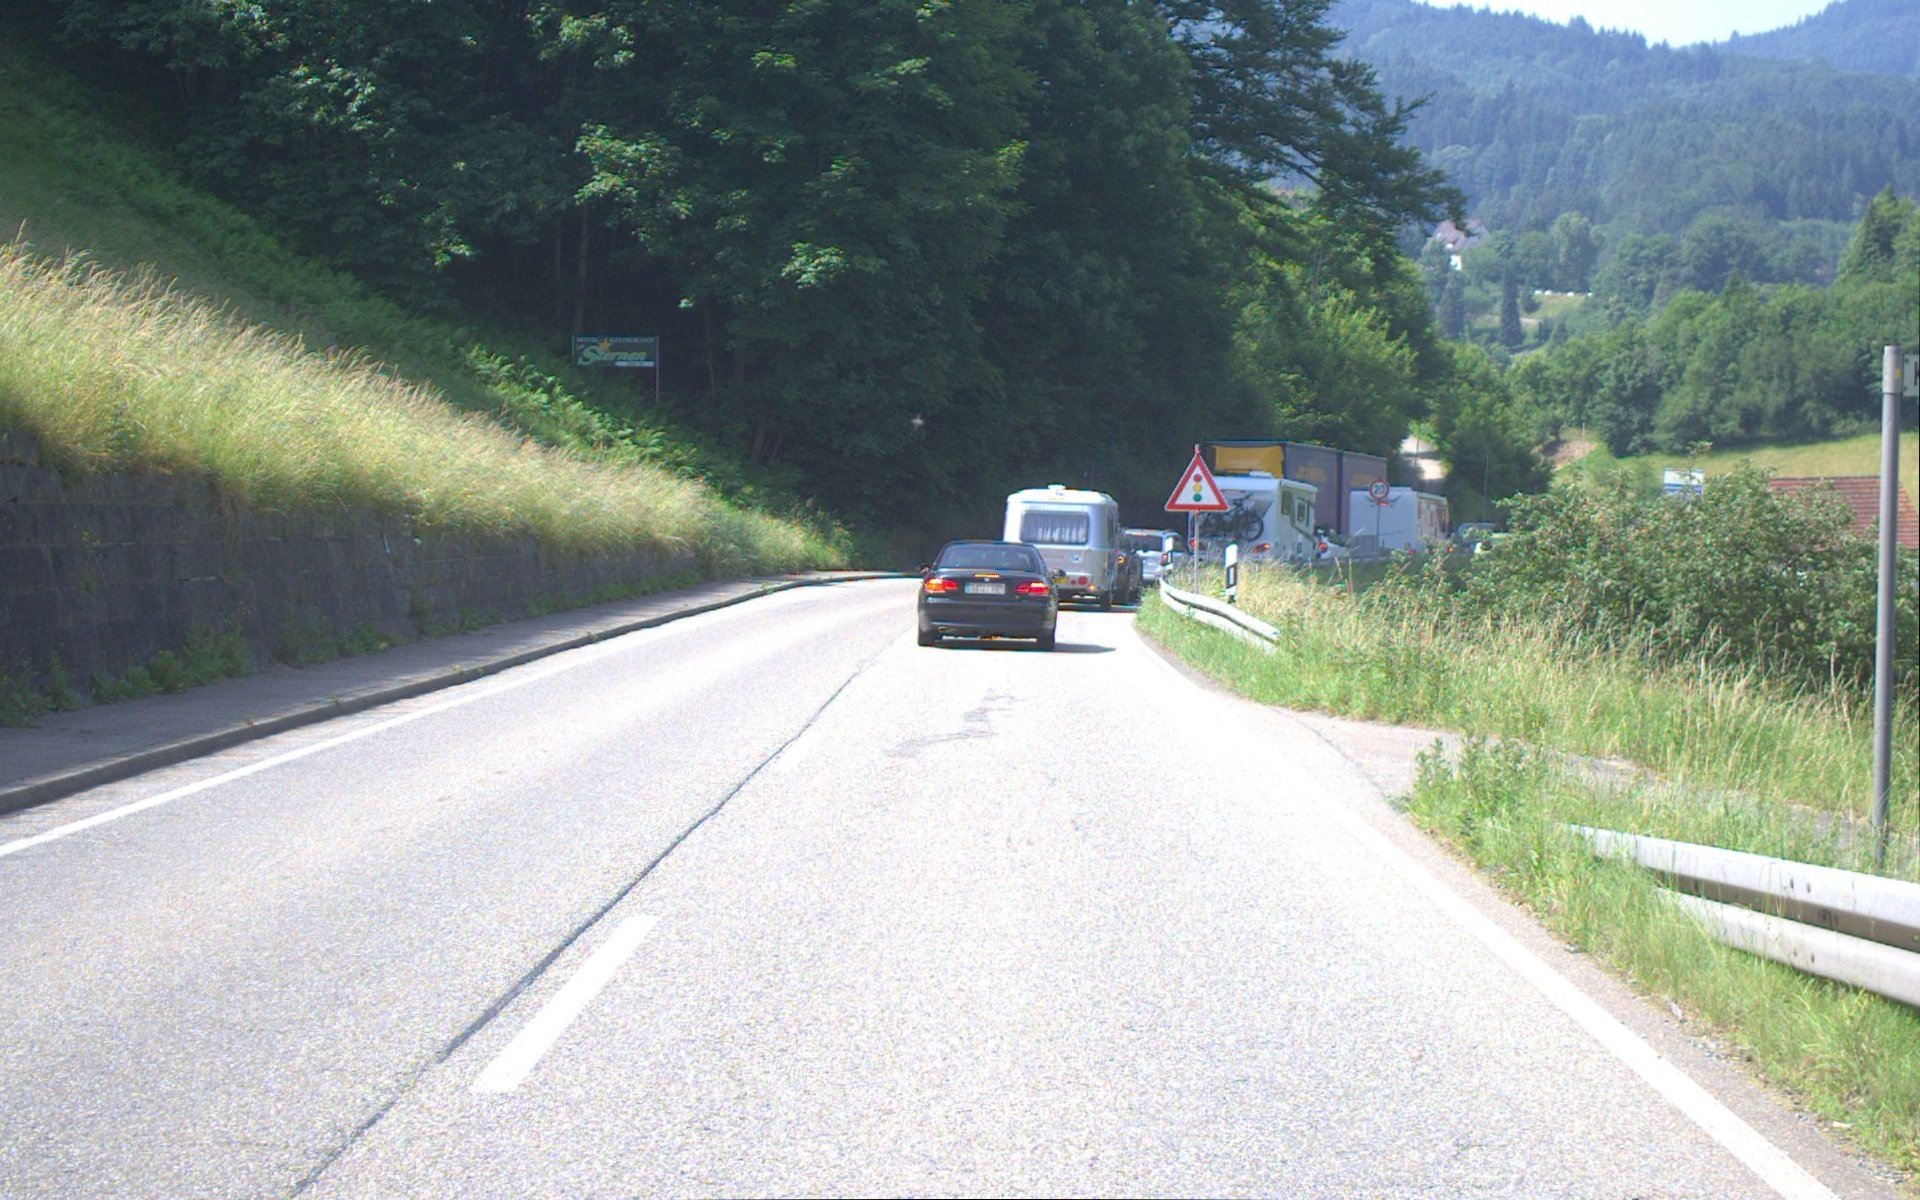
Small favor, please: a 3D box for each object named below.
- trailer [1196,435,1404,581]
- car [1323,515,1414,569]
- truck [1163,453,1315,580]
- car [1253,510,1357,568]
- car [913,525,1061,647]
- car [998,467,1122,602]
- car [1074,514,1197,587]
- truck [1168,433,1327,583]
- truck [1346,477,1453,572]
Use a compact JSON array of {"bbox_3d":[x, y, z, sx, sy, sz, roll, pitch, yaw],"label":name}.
[{"bbox_3d":[11.555,-3.037,114.849,3.263,4.402,15.302,3,2,19],"label":"trailer"},{"bbox_3d":[12.441,-1.777,104.537,1.789,1.459,3.996,5,3,20],"label":"car"},{"bbox_3d":[7.320,-2.184,89.497,2.792,2.987,6.864,5,3,13],"label":"truck"},{"bbox_3d":[9.818,-1.742,97.605,1.996,1.459,3.996,5,3,19],"label":"car"},{"bbox_3d":[0.369,-0.212,44.112,1.771,1.331,3.767,2,3,1],"label":"car"},{"bbox_3d":[1.933,-1.296,65.104,1.994,2.344,4.914,3,3,5],"label":"car"},{"bbox_3d":[3.979,-1.120,77.327,1.995,1.479,3.998,4,2,13],"label":"car"},{"bbox_3d":[9.026,-2.881,107.267,3.191,4.381,6.565,4,3,19],"label":"truck"},{"bbox_3d":[14.245,-2.411,111.155,2.239,2.794,6.226,3,1,17],"label":"truck"}]
